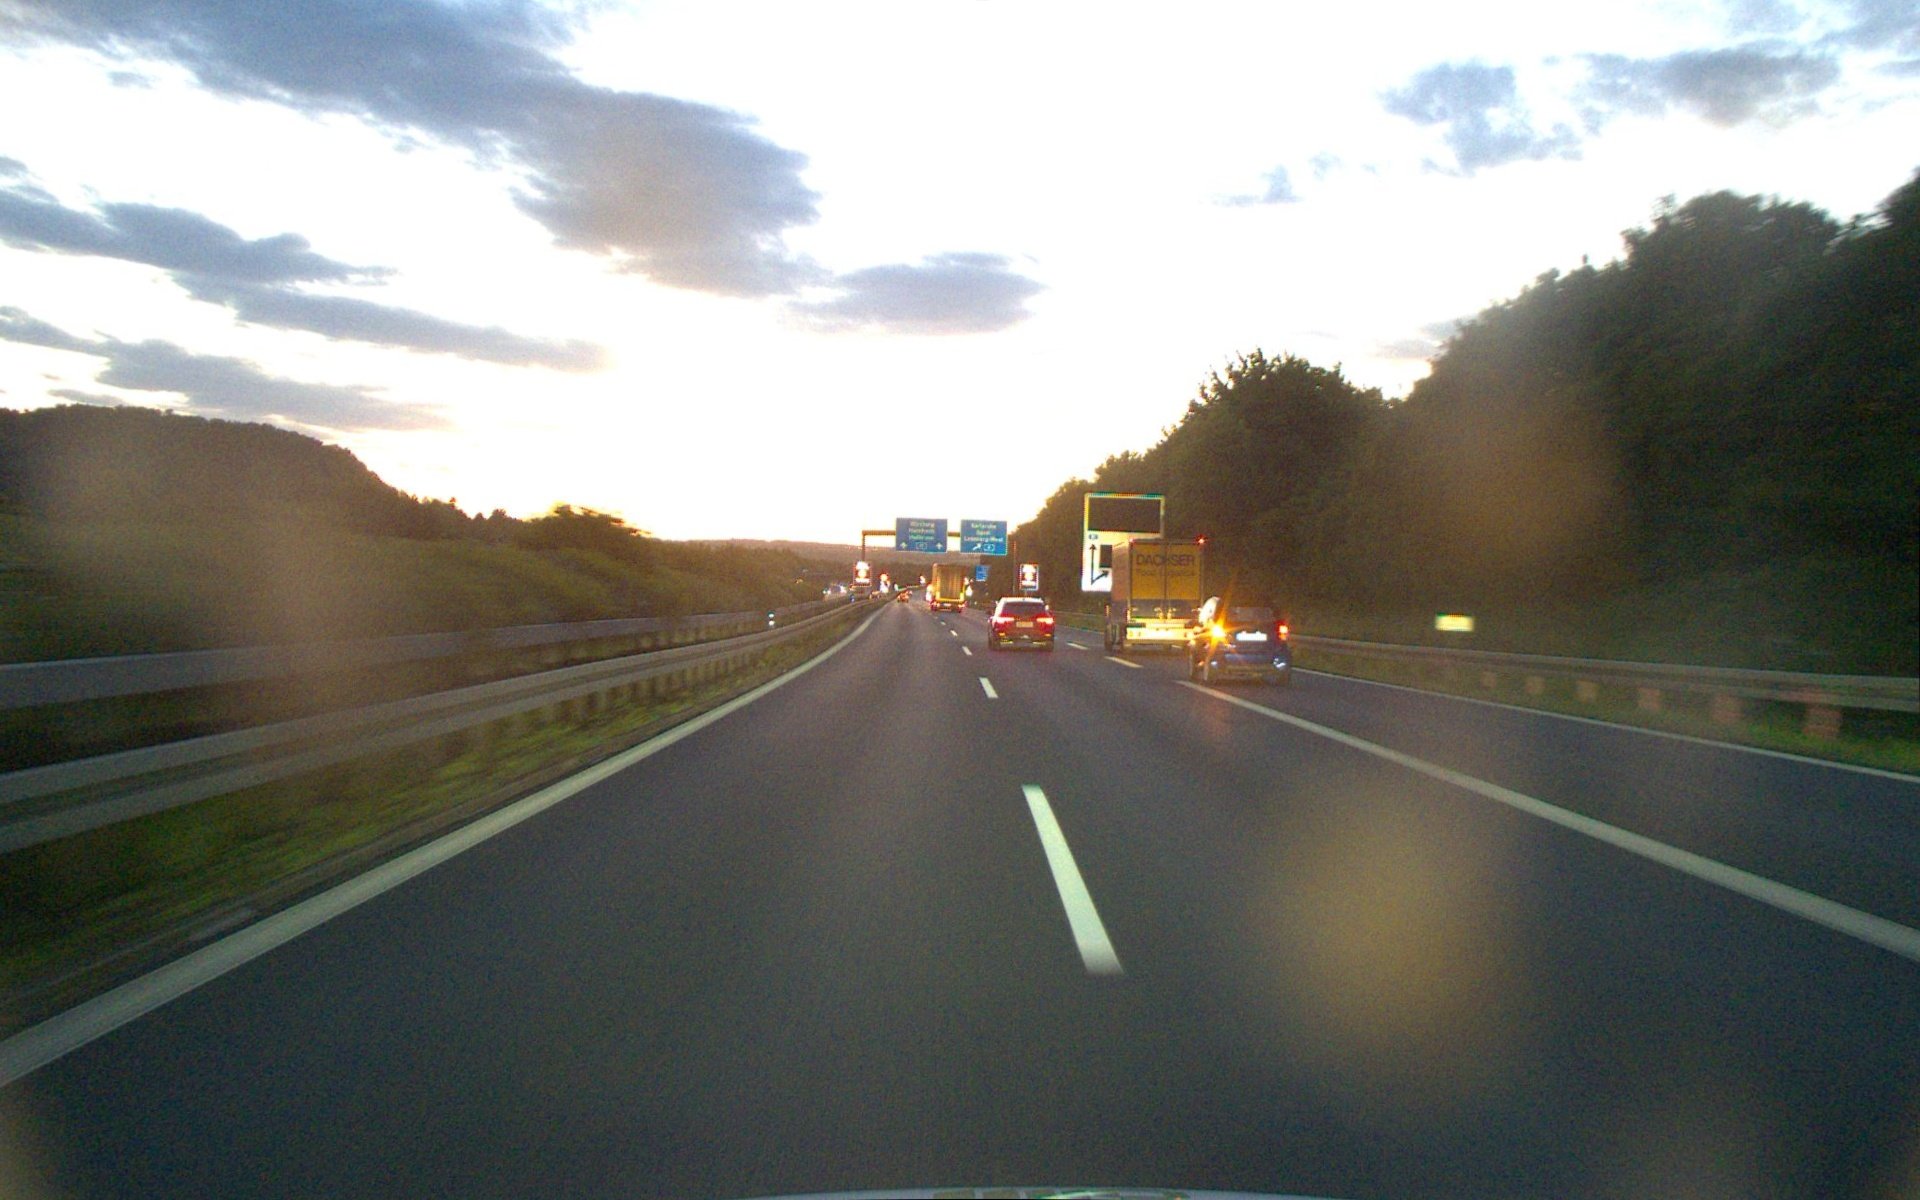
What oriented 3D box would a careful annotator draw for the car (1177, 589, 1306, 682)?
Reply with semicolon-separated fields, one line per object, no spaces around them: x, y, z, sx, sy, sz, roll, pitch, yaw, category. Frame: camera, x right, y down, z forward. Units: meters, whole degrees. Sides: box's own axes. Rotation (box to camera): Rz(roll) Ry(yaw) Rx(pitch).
5.058;0.616;30.087;1.578;1.583;3.316;1;0;-3;car

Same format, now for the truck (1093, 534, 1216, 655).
5.329;-0.158;46.379;2.223;3.023;6.628;3;0;-3;truck

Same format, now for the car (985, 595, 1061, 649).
1.770;0.620;47.457;1.876;1.467;3.998;1;0;-2;car

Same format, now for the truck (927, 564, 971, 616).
-1.042;-0.824;147.540;3.439;4.376;9.886;1;0;-2;truck
